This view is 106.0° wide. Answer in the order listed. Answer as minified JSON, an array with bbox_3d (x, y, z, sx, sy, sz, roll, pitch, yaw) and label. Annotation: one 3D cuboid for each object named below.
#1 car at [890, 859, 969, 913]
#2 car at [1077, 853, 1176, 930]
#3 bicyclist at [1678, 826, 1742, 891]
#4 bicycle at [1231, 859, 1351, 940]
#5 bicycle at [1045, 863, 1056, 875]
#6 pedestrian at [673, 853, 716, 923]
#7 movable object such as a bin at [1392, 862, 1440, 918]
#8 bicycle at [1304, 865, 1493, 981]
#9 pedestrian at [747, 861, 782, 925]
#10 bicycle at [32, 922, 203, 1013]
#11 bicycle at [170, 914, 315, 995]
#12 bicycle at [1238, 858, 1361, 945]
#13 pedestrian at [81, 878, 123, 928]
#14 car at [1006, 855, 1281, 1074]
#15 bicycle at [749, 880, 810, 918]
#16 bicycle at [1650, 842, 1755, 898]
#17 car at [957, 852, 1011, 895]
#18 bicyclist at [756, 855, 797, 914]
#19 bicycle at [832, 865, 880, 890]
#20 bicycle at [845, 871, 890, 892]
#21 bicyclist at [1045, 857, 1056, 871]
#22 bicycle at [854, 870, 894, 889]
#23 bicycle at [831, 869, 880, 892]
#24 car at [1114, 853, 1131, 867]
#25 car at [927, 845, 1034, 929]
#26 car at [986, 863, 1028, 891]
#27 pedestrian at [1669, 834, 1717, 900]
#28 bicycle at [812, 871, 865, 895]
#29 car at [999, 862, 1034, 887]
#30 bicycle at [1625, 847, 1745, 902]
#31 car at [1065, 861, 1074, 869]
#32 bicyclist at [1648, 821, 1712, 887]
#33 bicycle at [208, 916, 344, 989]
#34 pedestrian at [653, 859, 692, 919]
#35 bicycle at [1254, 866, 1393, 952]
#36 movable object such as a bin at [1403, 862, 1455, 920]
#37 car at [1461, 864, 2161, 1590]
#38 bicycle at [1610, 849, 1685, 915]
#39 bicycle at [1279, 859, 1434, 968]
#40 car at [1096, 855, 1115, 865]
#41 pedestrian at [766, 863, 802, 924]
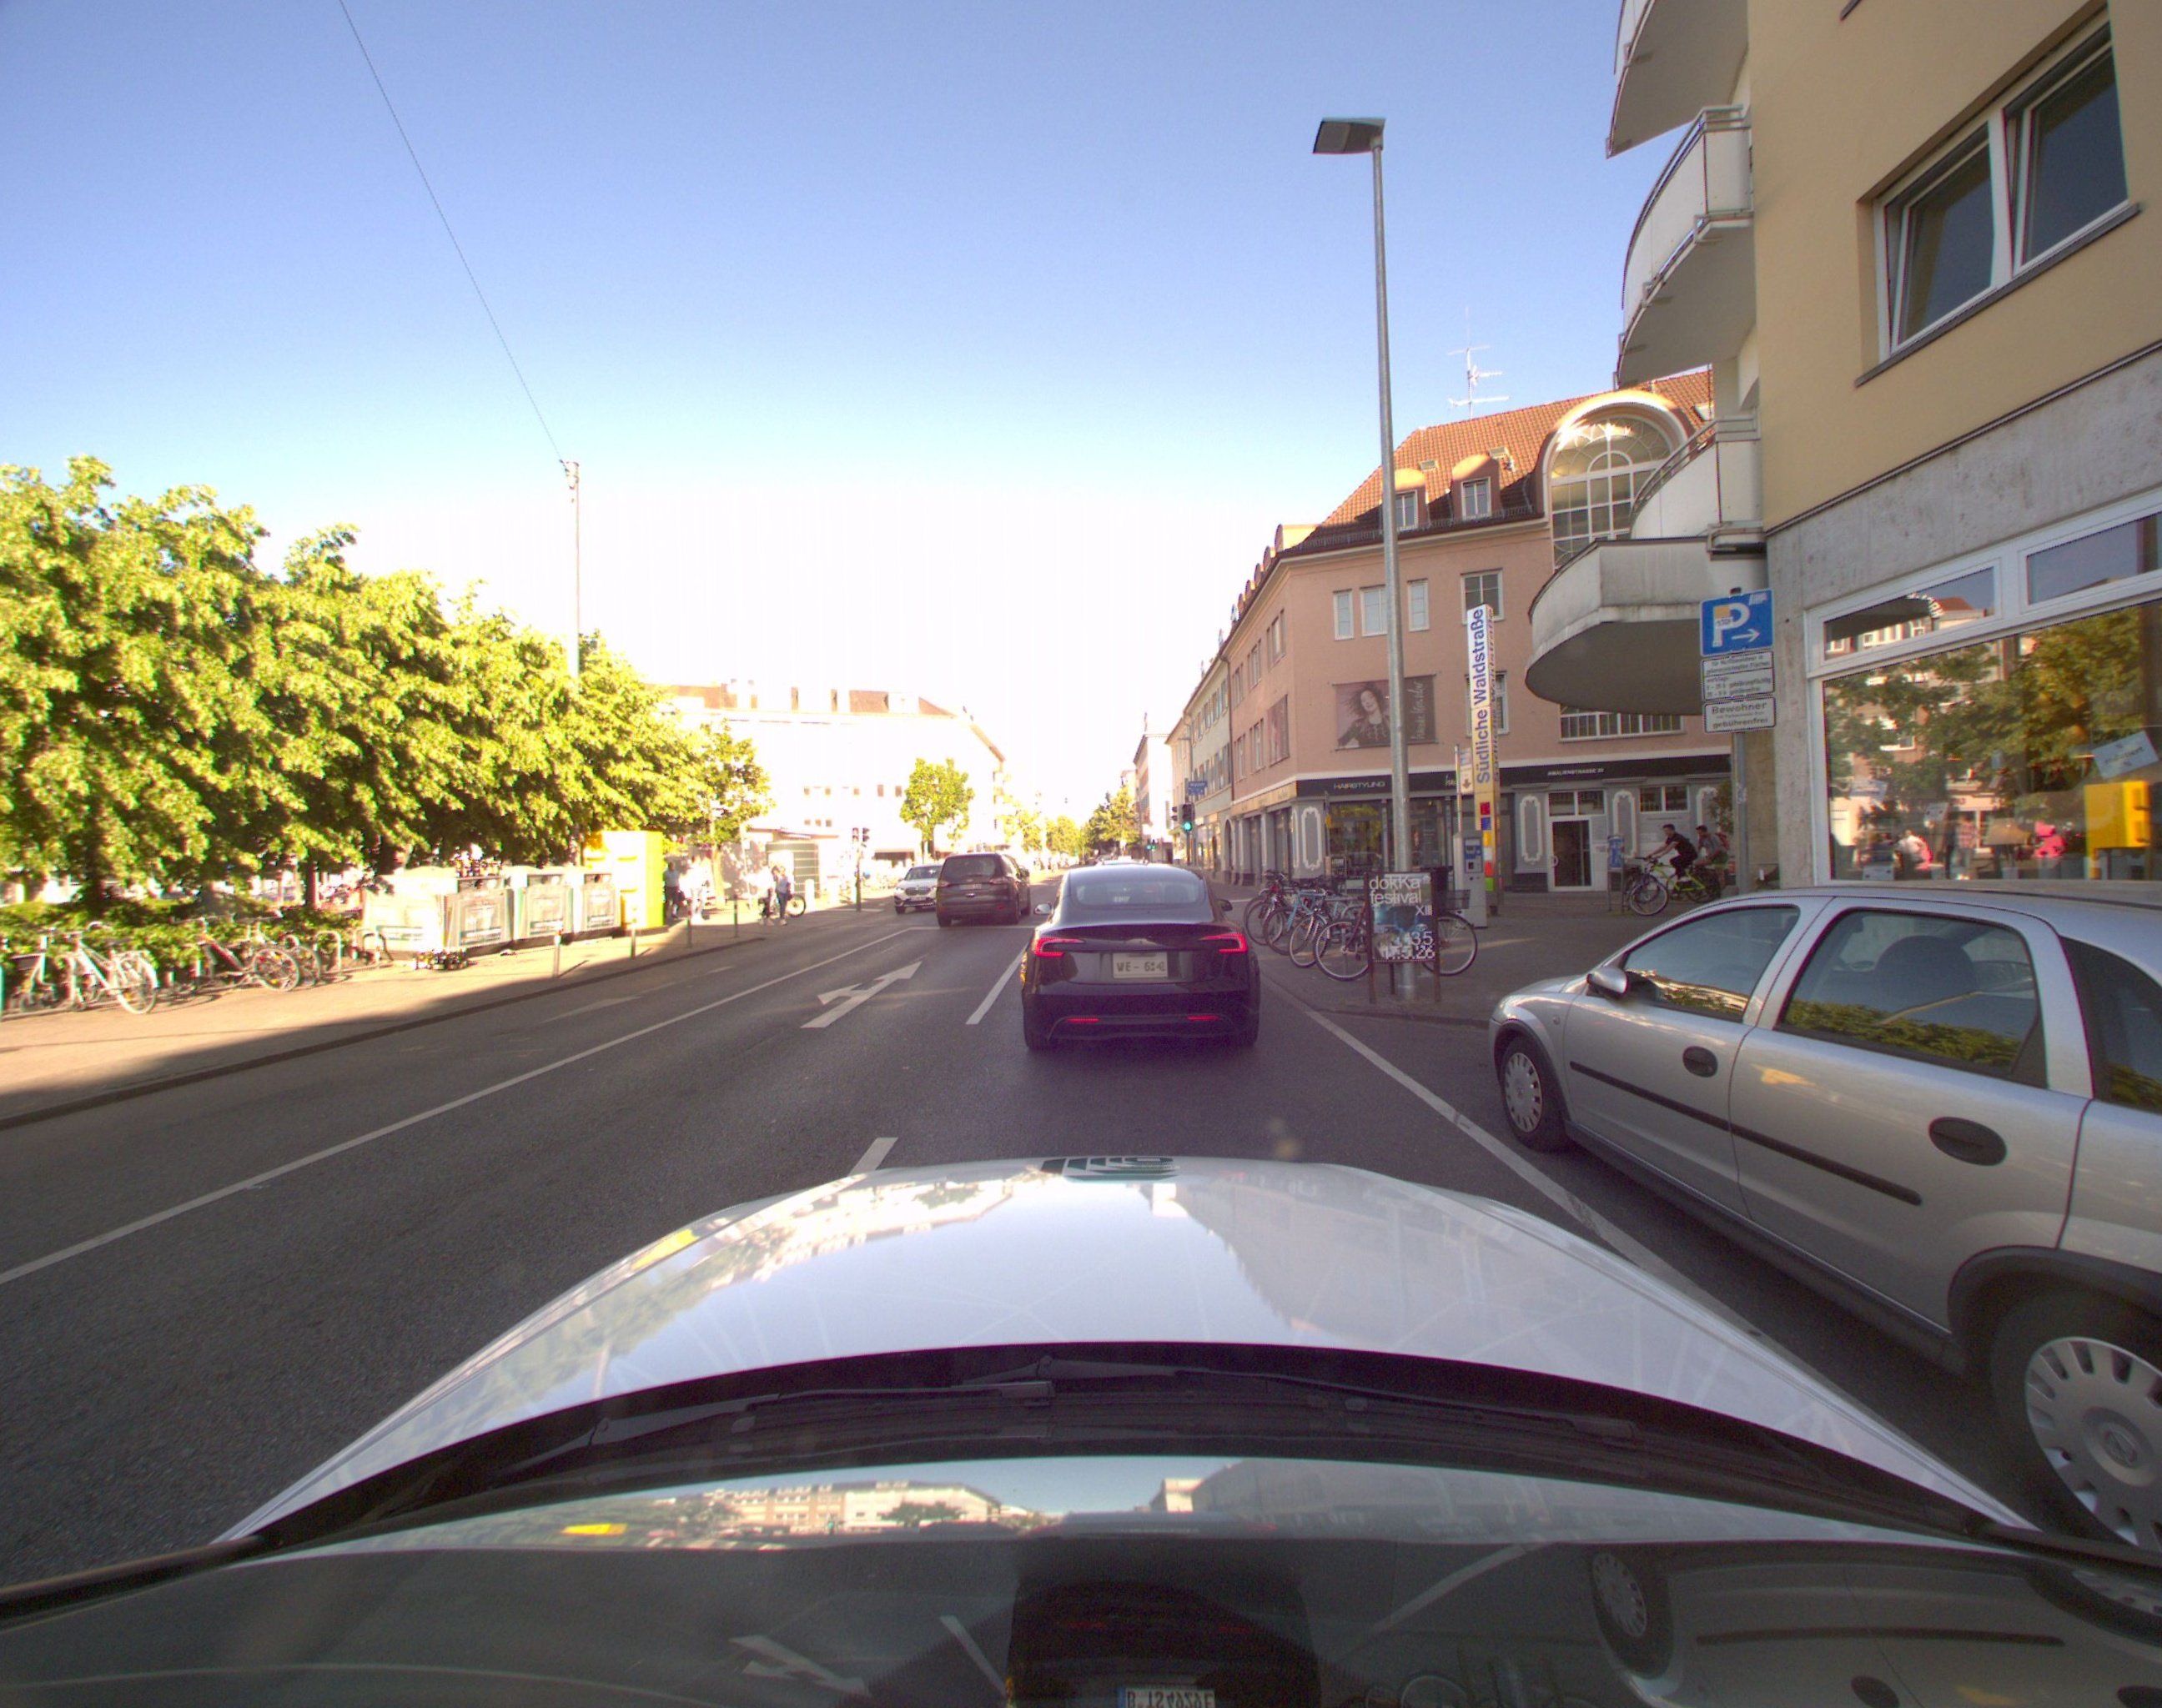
[{"bbox_3d":[-5.118,1.026,28.046,1.802,1.555,4.308,-5,0,-1],"label":"car"},{"bbox_3d":[0.958,0.774,18.727,1.987,1.512,4.175,-1,0,0],"label":"car"},{"bbox_3d":[14.472,0.111,18.772,0.938,1.449,0.810,-2,-1,21],"label":"bicyclist"},{"bbox_3d":[3.591,0.772,14.090,1.851,1.258,0.834,-3,-1,7],"label":"bicycle"},{"bbox_3d":[-3.535,1.739,95.158,1.108,1.344,3.998,-1,0,-1],"label":"bicycle"},{"bbox_3d":[-11.018,0.964,23.242,0.823,1.955,0.712,0,0,13],"label":"pedestrian"},{"bbox_3d":[6.721,0.715,16.358,0.730,1.092,0.628,0,-1,3],"label":"movable object such as a bin"},{"bbox_3d":[3.609,0.775,9.393,1.876,1.193,0.693,-3,0,7],"label":"bicycle"},{"bbox_3d":[-8.725,1.066,22.481,0.541,1.728,0.679,-2,-1,34],"label":"pedestrian"},{"bbox_3d":[-11.484,1.346,9.721,1.590,1.018,0.430,-1,0,3],"label":"bicycle"},{"bbox_3d":[-11.349,1.353,11.040,1.561,1.023,0.430,-1,-1,3],"label":"bicycle"},{"bbox_3d":[3.476,0.741,13.062,1.738,1.267,0.782,-3,-1,4],"label":"bicycle"},{"bbox_3d":[-41.004,2.040,34.116,1.169,2.014,0.937,-2,-1,31],"label":"pedestrian"},{"bbox_3d":[0.489,0.777,7.577,1.841,1.455,4.001,-1,-1,2],"label":"car"},{"bbox_3d":[-9.671,1.425,26.100,2.042,1.139,0.541,0,0,25],"label":"bicycle"},{"bbox_3d":[14.313,0.377,18.812,1.778,1.222,0.684,-2,-1,21],"label":"bicycle"},{"bbox_3d":[-4.737,0.922,40.553,1.827,1.845,4.676,-5,0,2],"label":"car"},{"bbox_3d":[-9.764,0.969,26.129,0.941,1.838,0.793,-1,0,26],"label":"bicyclist"},{"bbox_3d":[-12.948,1.338,46.866,2.472,1.324,0.921,-1,0,-4],"label":"bicycle"},{"bbox_3d":[-12.992,1.670,49.624,2.528,1.156,0.841,-1,0,-4],"label":"bicycle"},{"bbox_3d":[-3.561,1.124,95.256,1.123,1.628,0.965,-1,0,-1],"label":"bicyclist"},{"bbox_3d":[-13.209,1.620,52.059,2.318,1.156,0.841,-1,0,-4],"label":"bicycle"},{"bbox_3d":[-12.417,1.455,44.919,2.453,1.156,0.843,-1,0,0],"label":"bicycle"},{"bbox_3d":[5.069,0.732,100.281,1.986,1.629,4.002,-1,0,2],"label":"car"},{"bbox_3d":[-2.353,0.730,20.327,1.987,1.772,4.728,-2,0,0],"label":"car"},{"bbox_3d":[-4.405,1.334,49.052,1.988,1.410,4.672,-5,0,-1],"label":"car"},{"bbox_3d":[14.834,0.320,19.753,0.740,1.552,0.703,-1,-1,22],"label":"pedestrian"},{"bbox_3d":[-12.622,1.522,42.389,2.497,1.156,0.843,-1,0,0],"label":"bicycle"},{"bbox_3d":[-4.437,1.374,56.649,1.988,1.436,4.672,-5,0,-1],"label":"car"},{"bbox_3d":[13.319,0.455,18.037,1.951,1.149,0.795,-2,-1,21],"label":"bicycle"},{"bbox_3d":[-2.572,2.547,186.738,1.988,1.637,3.998,-1,0,-1],"label":"car"},{"bbox_3d":[13.255,0.012,18.057,0.915,1.414,0.810,-2,-1,20],"label":"bicyclist"},{"bbox_3d":[-11.401,1.393,11.545,1.517,0.958,0.430,-1,1,3],"label":"bicycle"},{"bbox_3d":[-12.683,1.071,25.282,0.835,1.827,0.747,-2,-1,35],"label":"pedestrian"},{"bbox_3d":[3.492,0.782,11.881,1.788,1.124,0.783,-3,-1,7],"label":"bicycle"},{"bbox_3d":[6.712,0.709,15.720,0.749,1.092,0.628,0,-1,3],"label":"movable object such as a bin"},{"bbox_3d":[2.961,0.741,2.952,1.607,1.382,3.645,0,0,2],"label":"car"},{"bbox_3d":[11.008,0.514,15.901,0.653,1.199,2.223,-2,-1,21],"label":"bicycle"},{"bbox_3d":[3.512,0.751,10.529,1.713,1.268,0.792,-3,-1,7],"label":"bicycle"},{"bbox_3d":[5.041,1.197,167.047,3.974,2.013,2.000,-1,0,0],"label":"car"},{"bbox_3d":[-8.390,1.109,23.004,0.676,1.662,0.625,-2,-1,30],"label":"pedestrian"}]
